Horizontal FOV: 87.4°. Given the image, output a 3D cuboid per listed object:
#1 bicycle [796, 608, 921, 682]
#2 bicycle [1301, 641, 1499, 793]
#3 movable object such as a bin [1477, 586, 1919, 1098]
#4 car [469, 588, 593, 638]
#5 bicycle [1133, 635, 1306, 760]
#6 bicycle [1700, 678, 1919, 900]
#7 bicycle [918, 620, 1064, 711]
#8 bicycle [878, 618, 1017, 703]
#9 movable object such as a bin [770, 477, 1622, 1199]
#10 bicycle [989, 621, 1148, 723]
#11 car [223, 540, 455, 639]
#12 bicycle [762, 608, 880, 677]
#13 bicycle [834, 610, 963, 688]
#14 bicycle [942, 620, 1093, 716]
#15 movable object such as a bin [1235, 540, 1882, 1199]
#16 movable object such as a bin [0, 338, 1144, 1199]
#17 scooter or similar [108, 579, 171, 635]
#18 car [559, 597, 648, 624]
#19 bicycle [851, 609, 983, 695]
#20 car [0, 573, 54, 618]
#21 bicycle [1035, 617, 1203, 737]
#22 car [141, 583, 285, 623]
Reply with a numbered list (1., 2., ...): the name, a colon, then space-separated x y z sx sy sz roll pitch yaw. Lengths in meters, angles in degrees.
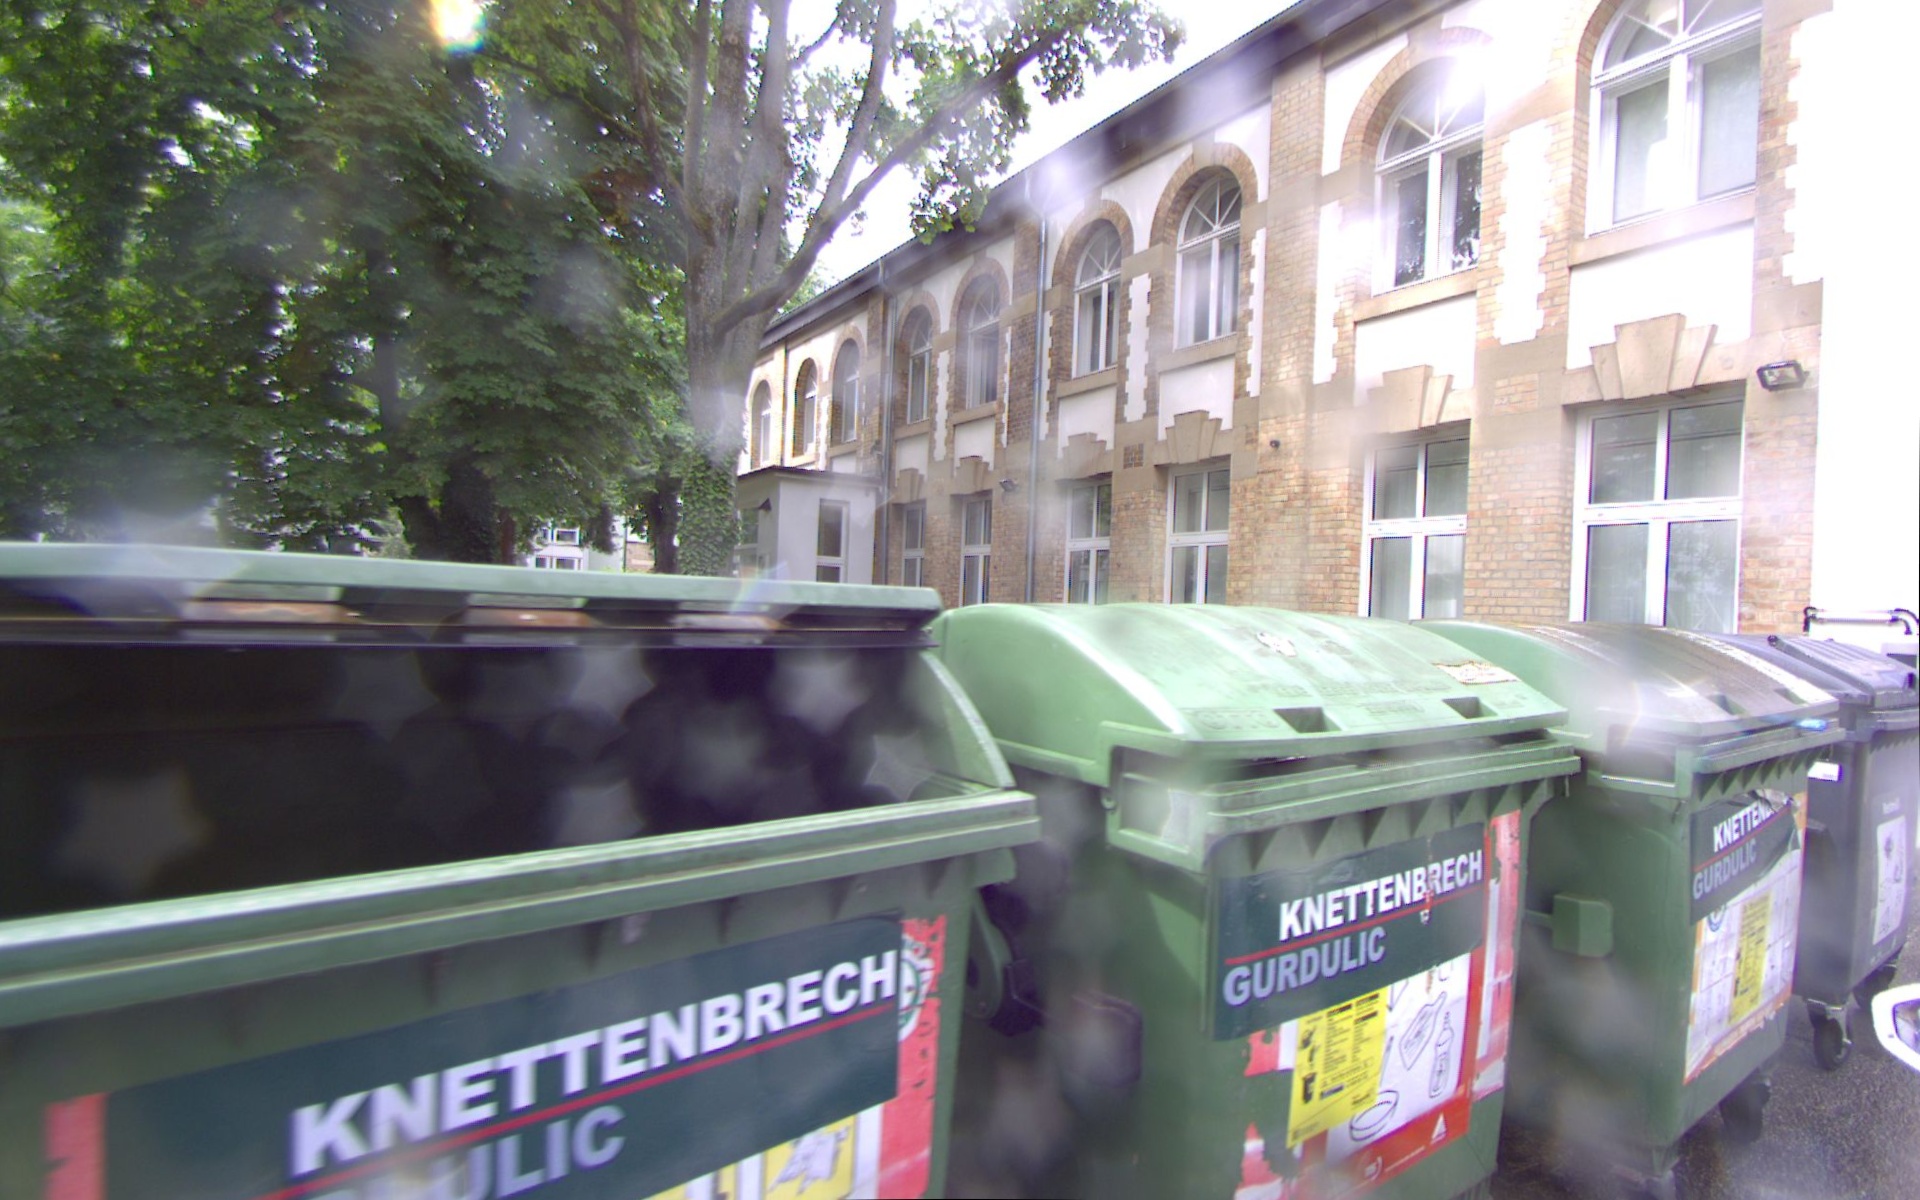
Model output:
1. bicycle: -1.627 0.738 16.201 1.906 1.130 0.611 3 -2 -33
2. bicycle: 3.674 0.938 8.332 1.769 1.130 0.612 3 -2 -33
3. movable object such as a bin: 2.978 0.747 3.908 1.580 1.502 1.155 3 -2 -38
4. car: -14.464 0.474 33.992 1.881 1.571 3.363 0 -2 32
5. bicycle: 2.604 0.950 9.995 1.769 1.130 0.612 3 -2 -33
6. bicycle: 5.100 1.058 5.984 1.504 1.130 0.612 3 -2 -33
7. bicycle: 0.434 0.875 13.422 1.906 1.130 0.611 3 -2 -33
8. bicycle: -0.152 0.867 14.229 1.906 1.130 0.611 3 -2 -33
9. movable object such as a bin: 0.492 0.596 2.188 1.390 1.503 1.156 2 1 -37
10. bicycle: 1.317 0.859 12.000 1.906 1.130 0.611 3 -2 -33
11. car: -17.512 -0.188 28.667 2.102 2.543 5.264 0 -2 29
12. bicycle: -2.397 0.748 17.404 1.906 1.130 0.611 3 -2 -33
13. bicycle: -0.932 0.772 15.500 1.906 1.130 0.611 3 -2 -33
14. bicycle: 0.751 0.867 12.766 1.906 1.130 0.611 3 -2 -33
15. movable object such as a bin: 1.750 0.666 2.930 1.484 1.502 1.155 3 -2 -38
16. movable object such as a bin: -0.661 0.569 1.389 1.391 1.503 1.155 0 2 -39
17. scooter or similar: -19.849 0.180 24.315 1.125 1.293 0.426 3 -2 5
18. car: -19.960 0.600 56.375 4.358 1.472 1.904 1 0 -7
19. bicycle: -0.617 0.749 14.875 1.906 1.193 0.611 1 0 -33
20. car: -33.049 -0.145 33.476 3.817 1.473 1.772 1 -1 -16
21. bicycle: 1.802 0.853 11.217 1.906 1.240 0.611 3 -2 -33
22. car: -29.291 0.129 39.537 4.135 1.472 1.809 1 0 -14
